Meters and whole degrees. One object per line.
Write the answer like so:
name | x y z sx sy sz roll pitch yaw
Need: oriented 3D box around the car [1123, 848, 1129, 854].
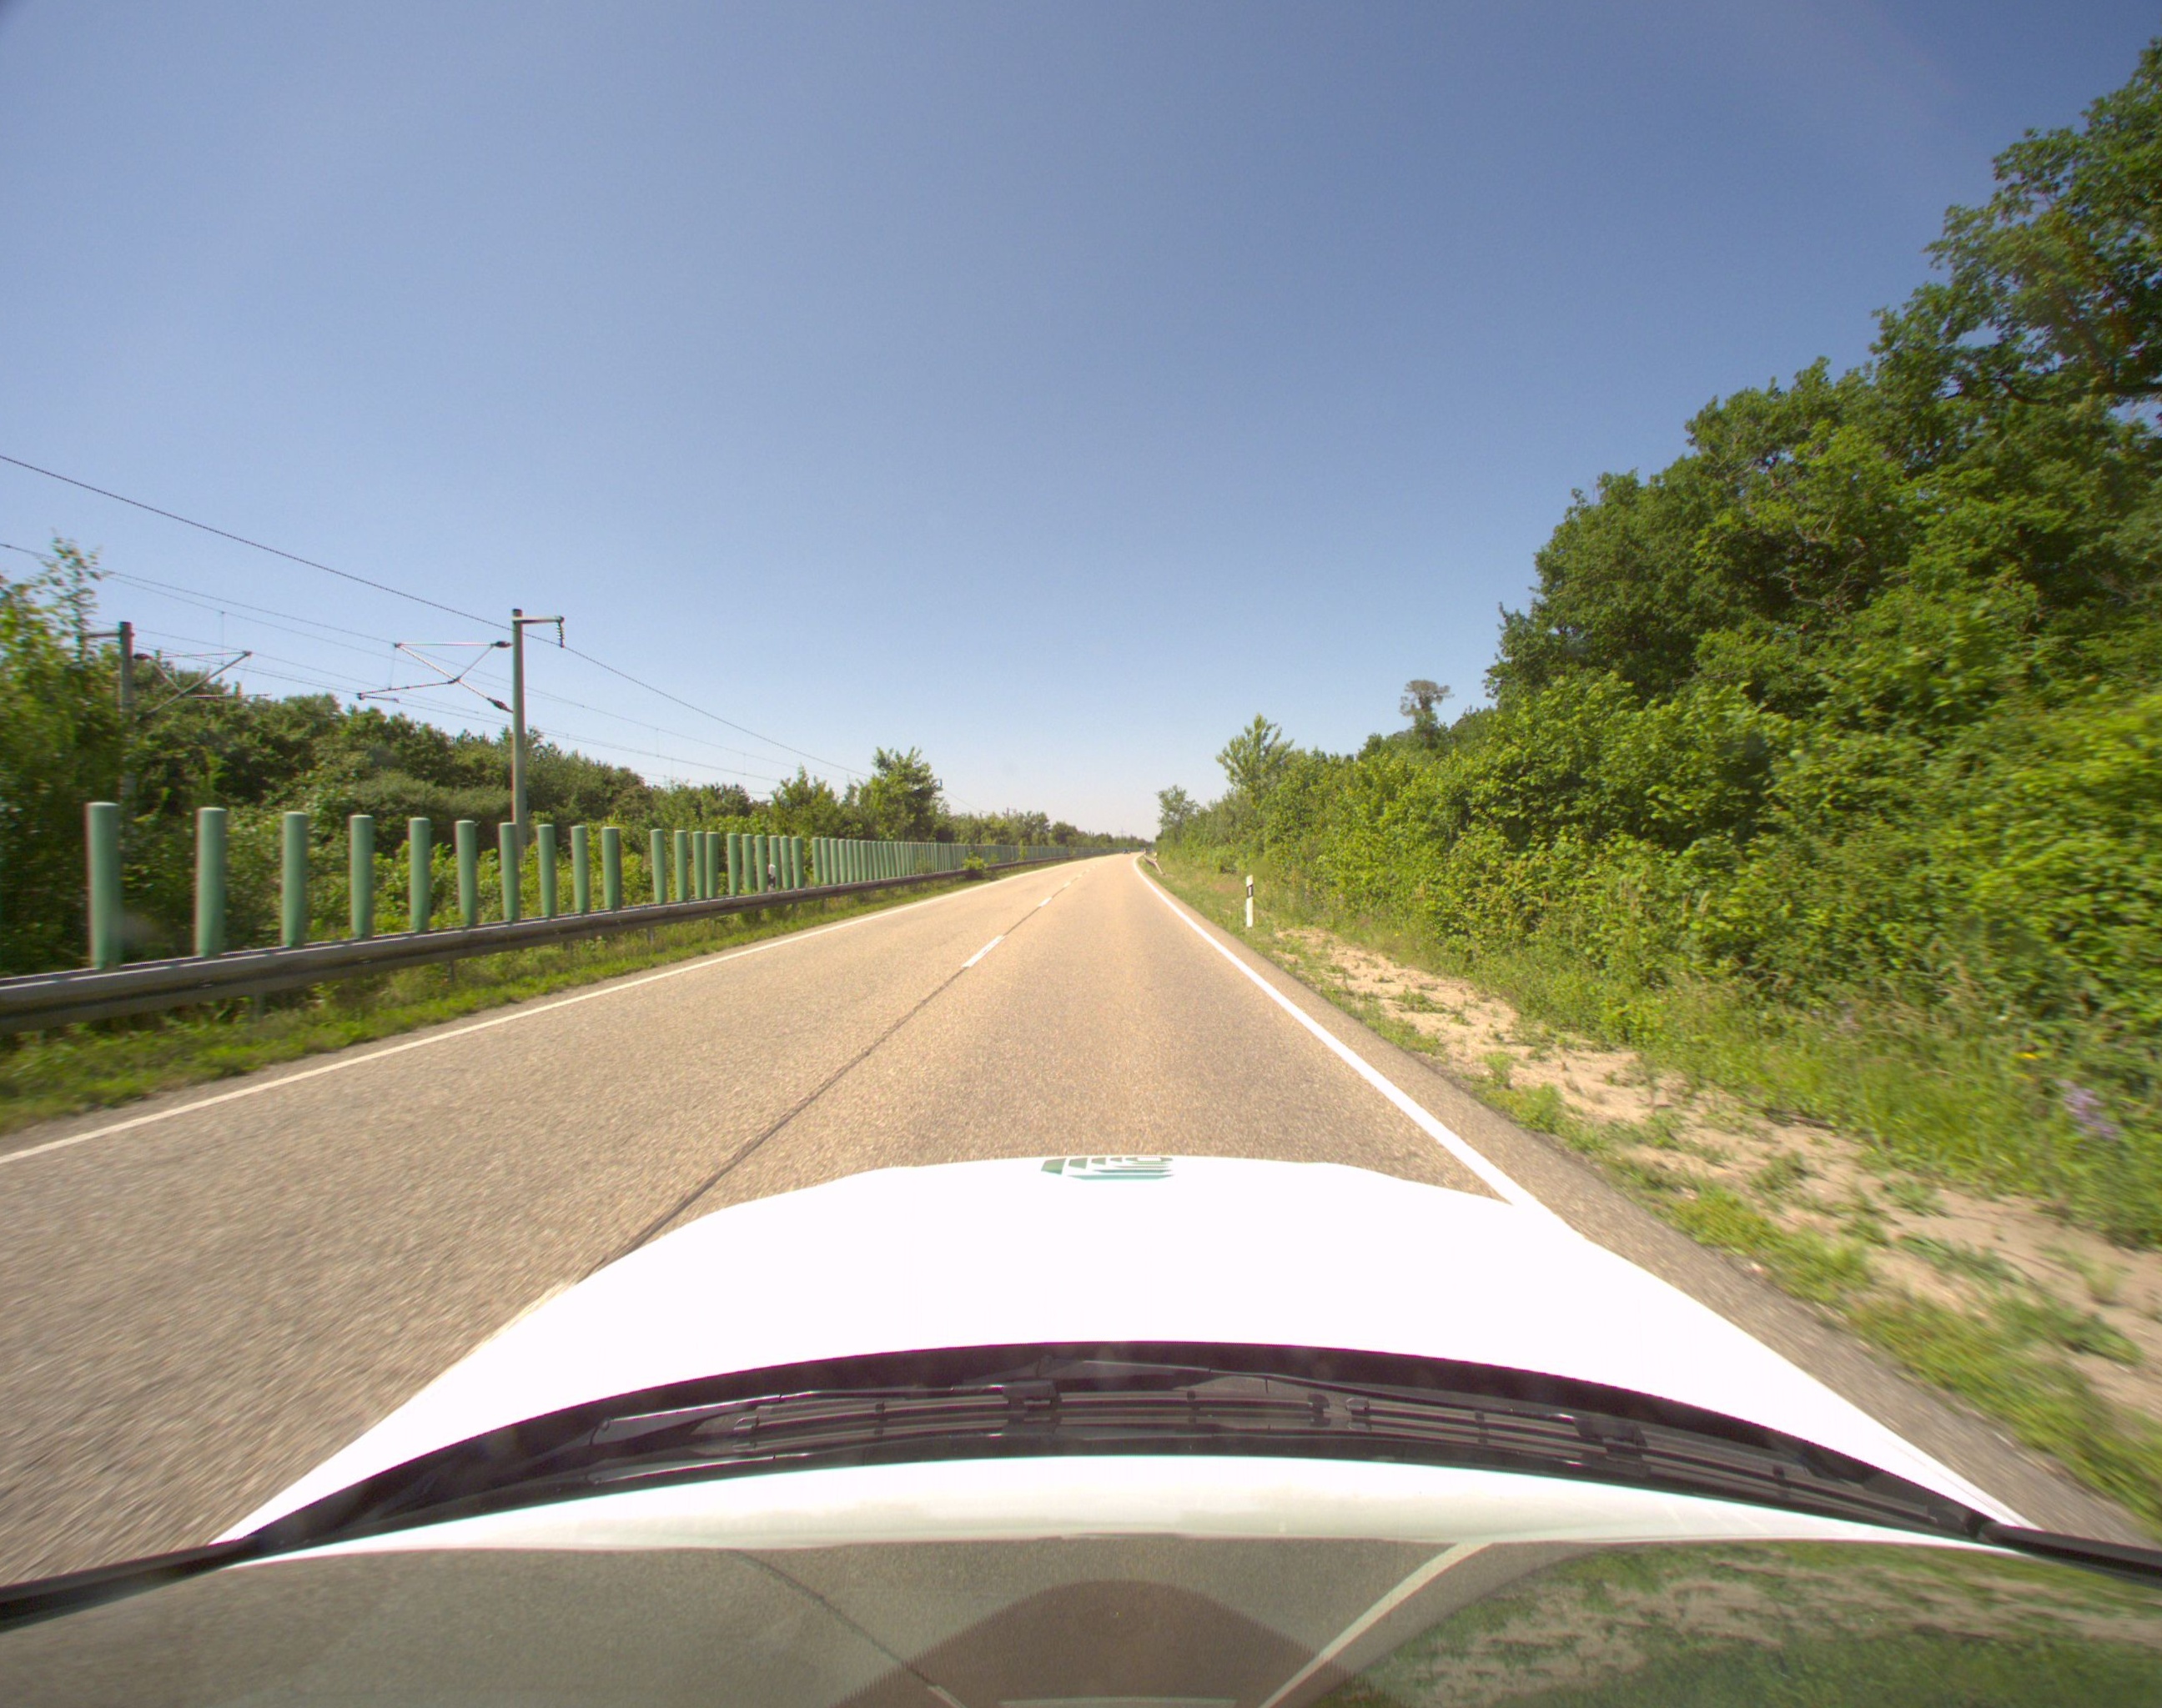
car | 13.314 -0.922 243.107 1.756 1.640 4.130 -1 0 3
